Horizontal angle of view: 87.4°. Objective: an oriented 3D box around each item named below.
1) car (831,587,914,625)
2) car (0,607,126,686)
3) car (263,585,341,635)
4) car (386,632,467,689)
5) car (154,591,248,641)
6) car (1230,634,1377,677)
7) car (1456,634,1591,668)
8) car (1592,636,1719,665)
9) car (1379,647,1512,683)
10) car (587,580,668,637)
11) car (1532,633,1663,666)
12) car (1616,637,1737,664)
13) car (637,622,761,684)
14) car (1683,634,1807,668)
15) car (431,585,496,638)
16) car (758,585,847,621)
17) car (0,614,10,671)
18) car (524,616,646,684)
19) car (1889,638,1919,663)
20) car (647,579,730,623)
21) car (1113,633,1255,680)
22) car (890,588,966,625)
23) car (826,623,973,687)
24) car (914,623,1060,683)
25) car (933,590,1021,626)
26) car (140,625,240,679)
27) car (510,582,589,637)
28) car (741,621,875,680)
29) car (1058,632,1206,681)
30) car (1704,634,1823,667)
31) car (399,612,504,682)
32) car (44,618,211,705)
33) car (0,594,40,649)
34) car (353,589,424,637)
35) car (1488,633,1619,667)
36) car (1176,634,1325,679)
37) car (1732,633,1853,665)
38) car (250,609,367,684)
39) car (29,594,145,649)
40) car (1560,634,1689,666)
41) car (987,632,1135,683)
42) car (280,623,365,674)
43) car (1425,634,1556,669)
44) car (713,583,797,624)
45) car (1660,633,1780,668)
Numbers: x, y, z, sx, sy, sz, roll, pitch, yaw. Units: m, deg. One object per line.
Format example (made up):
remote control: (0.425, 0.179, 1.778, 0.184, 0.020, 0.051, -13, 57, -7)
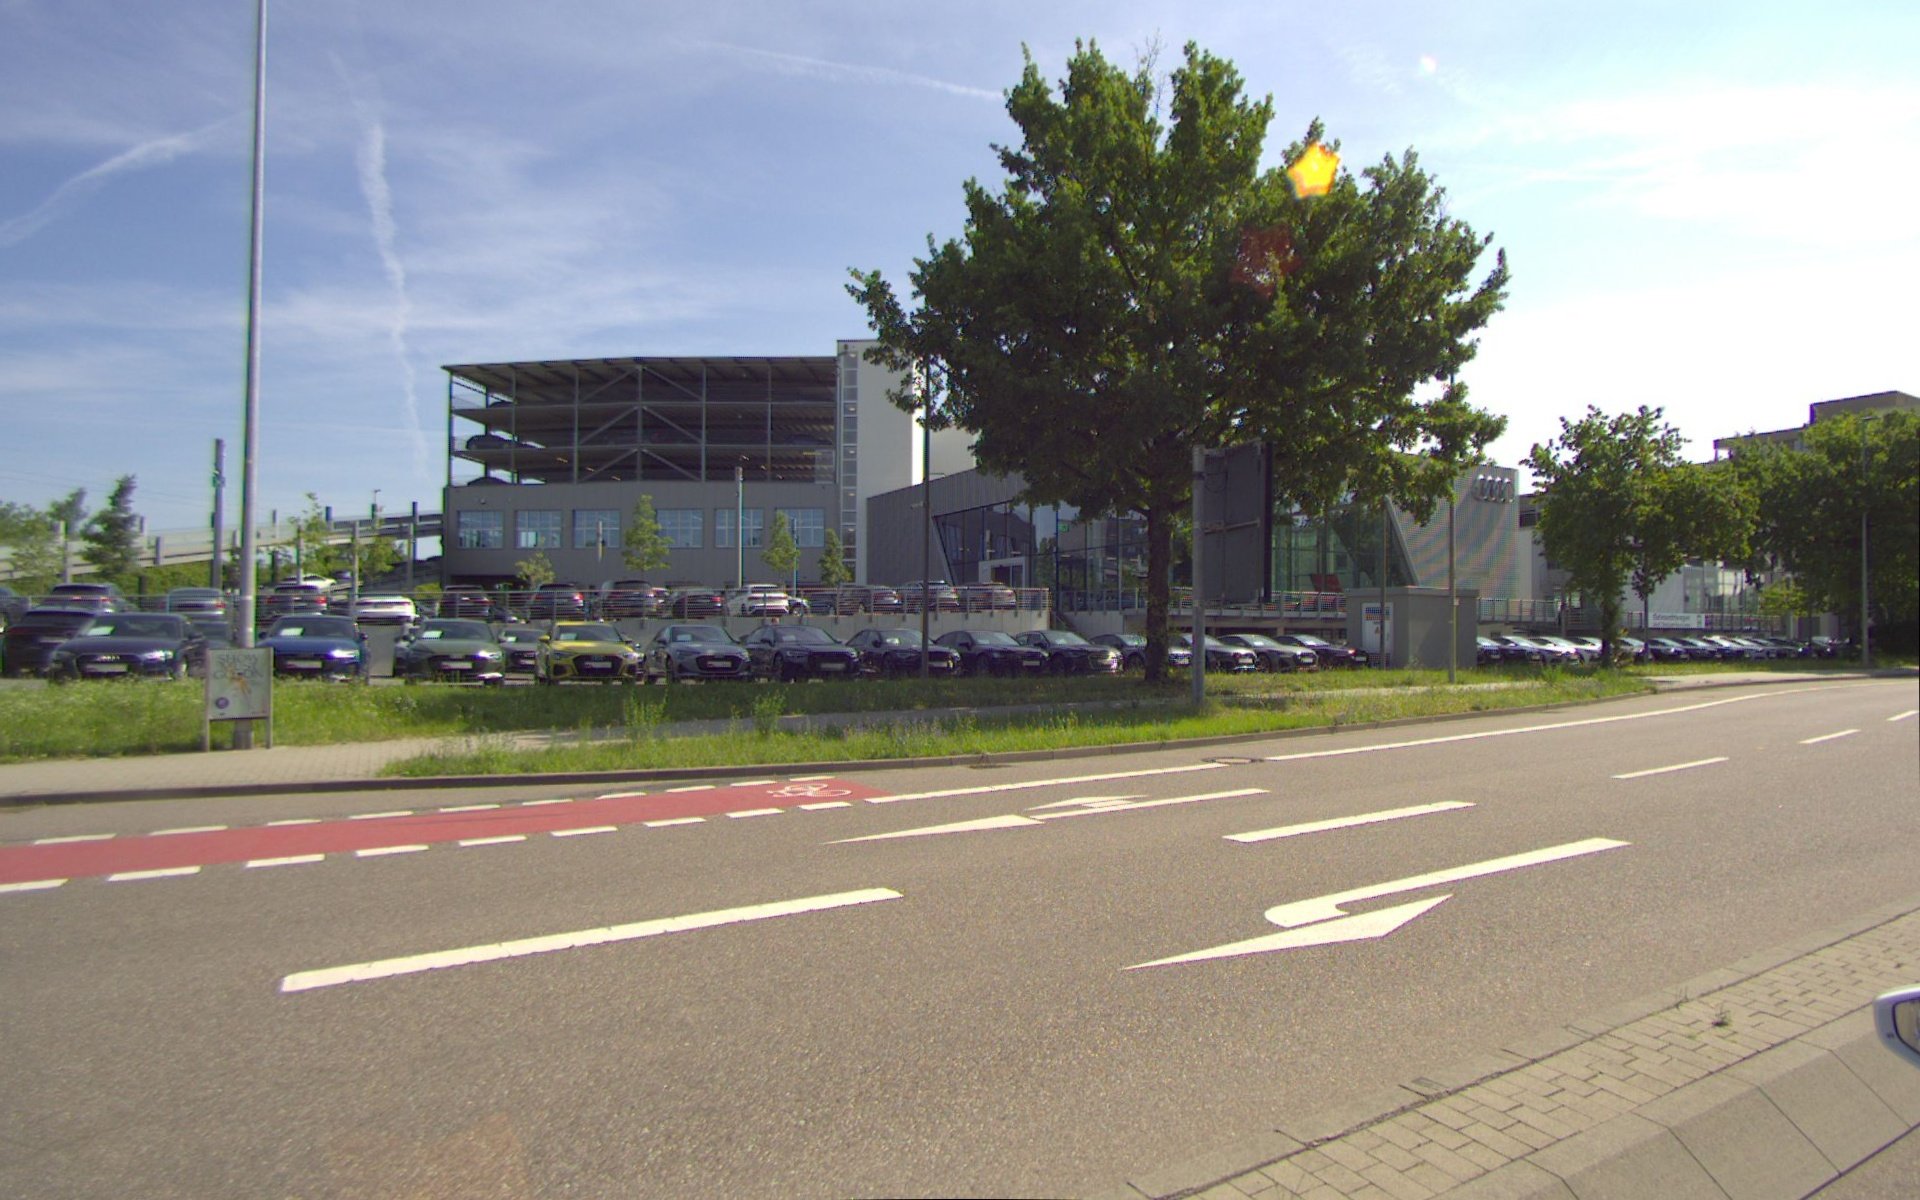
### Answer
car: (-3.776, 0.233, 42.828, 2.027, 1.515, 3.968, 1, 0, -30)
car: (-22.046, 1.085, 24.839, 1.625, 1.745, 3.752, 1, 0, -31)
car: (-21.339, 0.374, 32.722, 1.957, 1.504, 4.477, 1, -2, -31)
car: (-15.791, 1.722, 29.627, 1.870, 1.437, 3.966, 1, 0, -31)
car: (-23.497, 0.464, 31.242, 1.870, 1.437, 4.476, 1, 0, -31)
car: (11.371, 1.807, 33.551, 1.898, 1.307, 4.477, 1, -2, -31)
car: (22.063, 2.016, 39.492, 2.064, 1.171, 4.154, 1, -5, -31)
car: (30.509, 2.252, 44.187, 1.933, 1.091, 4.154, 1, -5, -31)
car: (17.693, 2.398, 36.763, 1.876, 1.171, 3.968, 1, -5, -31)
car: (-12.532, 0.372, 37.686, 1.957, 1.988, 4.477, 1, -2, -31)
car: (26.563, 2.084, 41.995, 1.933, 1.205, 4.154, 1, -5, -31)
car: (32.204, 2.303, 45.231, 1.678, 1.047, 4.088, 1, -5, -31)
car: (-6.083, 1.228, 23.193, 1.844, 1.302, 3.576, 1, -4, -31)
car: (37.824, 2.493, 48.529, 1.976, 1.460, 4.232, 1, -5, -29)
car: (-17.264, 0.448, 34.847, 1.646, 1.728, 4.246, 1, -2, -31)
car: (-7.469, 0.158, 47.699, 3.745, 1.594, 1.941, 1, 0, -31)
car: (-24.019, 1.053, 23.637, 1.625, 1.420, 3.710, 1, 0, -31)
car: (-8.312, 1.114, 22.081, 1.819, 1.358, 3.868, 1, -4, -31)
car: (58.214, 2.945, 59.794, 1.638, 1.437, 3.864, 0, -5, -26)
car: (-10.574, 0.092, 38.905, 1.957, 1.571, 4.477, 1, -2, -31)
car: (6.788, 1.687, 30.894, 1.673, 1.307, 4.477, 1, -2, -31)
car: (-1.458, 0.282, 44.133, 1.648, 1.516, 3.968, 1, 0, -30)
car: (-1.669, 1.374, 26.063, 1.957, 1.495, 4.477, 1, -2, -31)
car: (0.632, 1.398, 27.399, 1.898, 1.495, 4.477, 1, -2, -31)
car: (0.710, 0.344, 45.482, 1.963, 1.515, 4.498, 1, 0, -30)
car: (-19.936, 1.304, 26.128, 1.625, 1.213, 3.751, 1, 0, -31)
car: (-14.906, 0.394, 36.319, 1.957, 1.839, 4.477, 1, -2, -31)
car: (-3.768, 1.239, 24.429, 1.963, 1.302, 3.662, 1, -4, -31)
car: (4.986, 1.623, 29.731, 1.898, 1.307, 4.477, 1, -2, -31)
car: (39.846, 2.527, 49.927, 1.976, 1.460, 4.124, 1, -5, -29)
car: (-10.478, 0.983, 20.575, 1.644, 1.302, 3.724, 1, -4, -31)
car: (-14.736, 1.022, 17.984, 1.725, 1.302, 3.771, 1, 0, -31)
car: (-28.044, 0.561, 28.604, 1.978, 1.496, 4.178, 1, 0, -33)
car: (-19.388, 0.475, 34.013, 1.957, 1.504, 4.477, 1, -2, -31)
car: (24.123, 2.074, 40.960, 1.933, 1.205, 4.154, 1, -5, -31)
car: (9.253, 1.762, 32.302, 1.981, 1.307, 4.477, 1, -2, -31)
car: (42.336, 2.527, 51.174, 2.027, 1.460, 4.287, 1, -5, -30)
car: (-12.475, 0.915, 19.382, 1.725, 1.302, 3.576, 1, -4, -31)
car: (-25.938, 0.603, 29.986, 1.978, 1.496, 4.178, 1, 0, -33)
car: (28.481, 2.163, 43.170, 1.933, 1.205, 4.154, 1, -5, -31)
car: (2.769, 1.573, 28.486, 1.898, 1.307, 4.477, 1, -2, -31)
car: (-17.356, 1.335, 27.453, 1.844, 1.302, 3.576, 1, -4, -31)
car: (20.084, 1.963, 38.166, 1.876, 1.171, 3.968, 1, -5, -31)
car: (-8.328, 0.199, 40.511, 1.957, 1.504, 4.477, 1, -2, -31)
car: (35.541, 2.392, 47.057, 1.976, 1.460, 3.972, 1, -5, -29)
